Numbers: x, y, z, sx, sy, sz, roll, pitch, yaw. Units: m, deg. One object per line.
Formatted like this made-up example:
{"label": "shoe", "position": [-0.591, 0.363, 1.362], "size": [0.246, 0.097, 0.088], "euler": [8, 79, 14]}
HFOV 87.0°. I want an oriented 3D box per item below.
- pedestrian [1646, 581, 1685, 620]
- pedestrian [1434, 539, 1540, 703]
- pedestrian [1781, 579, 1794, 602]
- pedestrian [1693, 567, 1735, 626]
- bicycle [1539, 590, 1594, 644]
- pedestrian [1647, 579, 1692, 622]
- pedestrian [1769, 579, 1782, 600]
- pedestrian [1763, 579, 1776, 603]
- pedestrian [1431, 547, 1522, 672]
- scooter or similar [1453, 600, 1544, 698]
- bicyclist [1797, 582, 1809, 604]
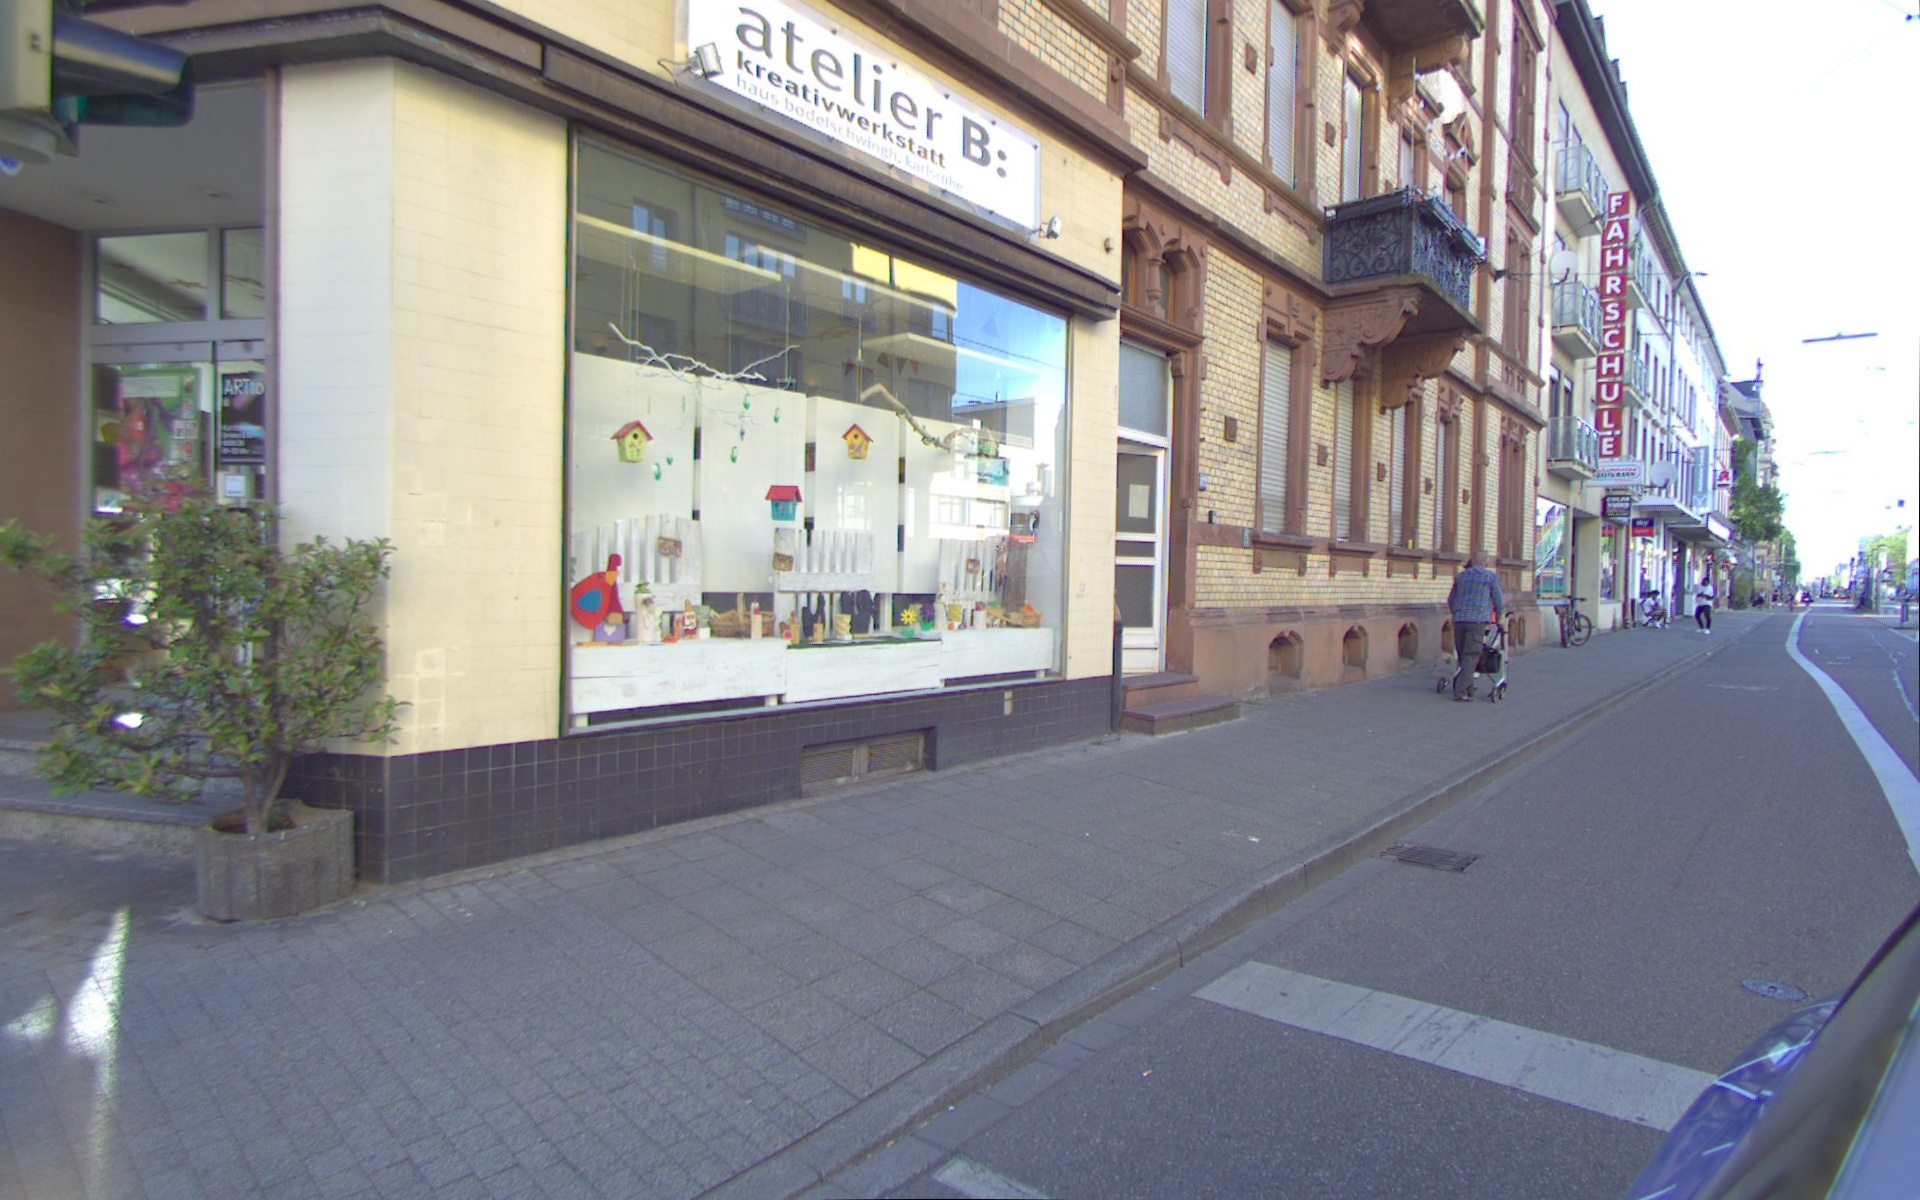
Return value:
{"label": "pedestrian", "position": [23.518, 0.011, 33.754], "size": [0.699, 1.188, 1.009], "euler": [7, 5, 22]}
{"label": "pedestrian", "position": [6.292, 0.230, 12.083], "size": [0.805, 1.821, 0.750], "euler": [7, 4, 41]}
{"label": "pedestrian", "position": [63.580, -0.716, 77.796], "size": [0.647, 1.737, 0.796], "euler": [2, 1, 34]}
{"label": "pedestrian", "position": [24.584, -0.124, 32.998], "size": [0.666, 1.833, 0.708], "euler": [3, 5, -33]}
{"label": "bicycle", "position": [13.059, 0.341, 21.772], "size": [0.555, 1.073, 2.276], "euler": [5, 4, 41]}
{"label": "pedestrian", "position": [23.050, 0.014, 32.883], "size": [0.817, 1.270, 0.706], "euler": [6, 5, 6]}
{"label": "pedestrian", "position": [62.911, -0.784, 78.079], "size": [0.647, 1.598, 0.674], "euler": [2, 1, 35]}
{"label": "pedestrian", "position": [62.353, -0.696, 77.934], "size": [0.685, 1.793, 0.649], "euler": [0, 2, -44]}
{"label": "pedestrian", "position": [7.338, 0.125, 14.378], "size": [0.798, 1.646, 0.813], "euler": [9, 5, 42]}
{"label": "scooter or similar", "position": [6.694, 0.587, 12.594], "size": [0.805, 1.082, 0.513], "euler": [8, 5, 41]}
{"label": "bicyclist", "position": [63.137, -0.523, 75.802], "size": [0.674, 1.634, 0.825], "euler": [1, 1, 40]}
